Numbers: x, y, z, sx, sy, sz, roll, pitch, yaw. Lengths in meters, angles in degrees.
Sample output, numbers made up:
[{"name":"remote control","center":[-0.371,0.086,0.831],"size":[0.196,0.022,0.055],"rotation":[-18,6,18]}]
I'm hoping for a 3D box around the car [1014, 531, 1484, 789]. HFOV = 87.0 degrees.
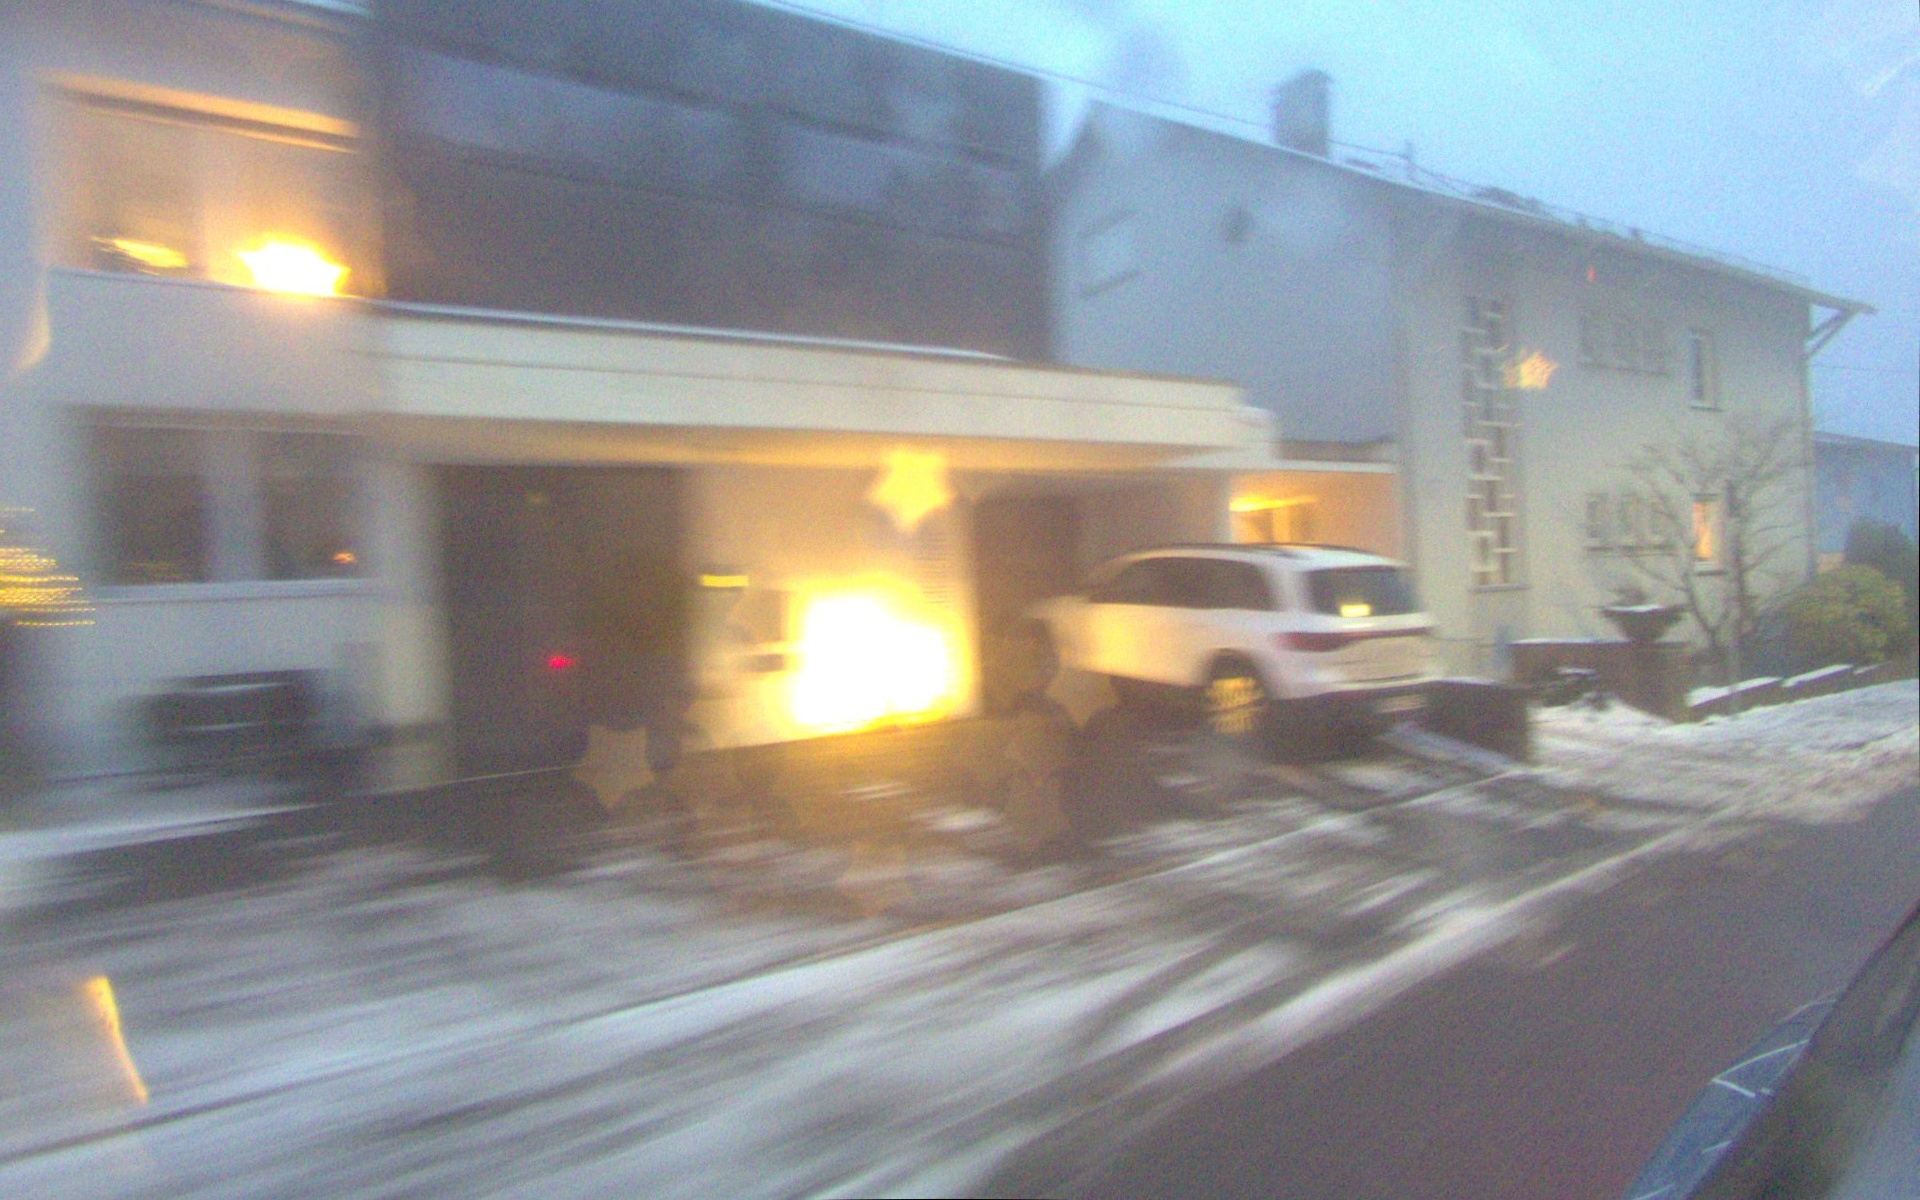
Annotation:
[{"name":"car","center":[2.450,0.389,9.681],"size":[1.873,1.881,4.224],"rotation":[-1,1,-30]}]
